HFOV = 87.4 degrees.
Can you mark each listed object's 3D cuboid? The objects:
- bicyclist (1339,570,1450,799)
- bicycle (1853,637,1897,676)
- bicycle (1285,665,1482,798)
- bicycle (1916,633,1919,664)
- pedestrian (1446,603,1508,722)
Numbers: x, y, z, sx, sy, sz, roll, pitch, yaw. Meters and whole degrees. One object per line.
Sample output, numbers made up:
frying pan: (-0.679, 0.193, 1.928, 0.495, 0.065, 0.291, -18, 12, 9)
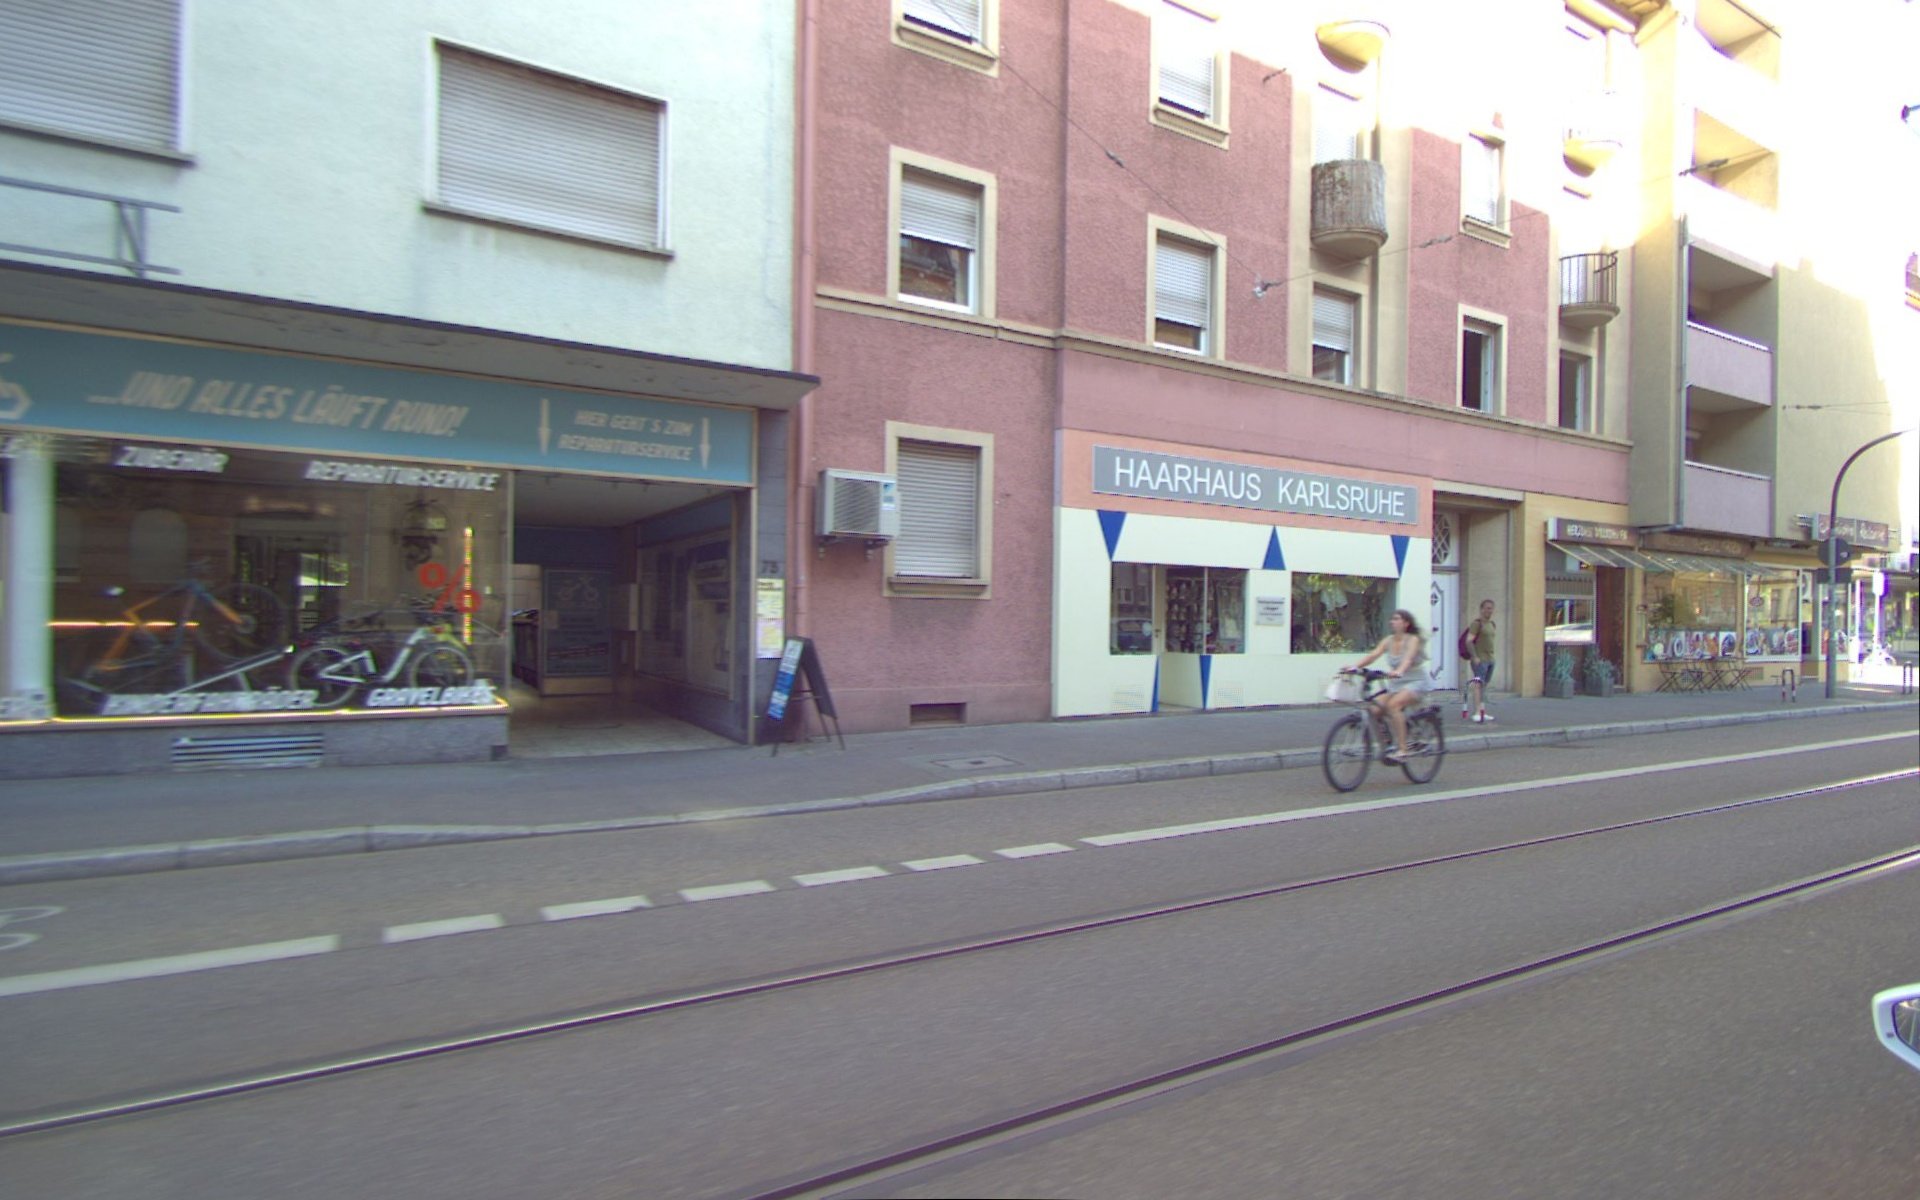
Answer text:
bicyclist: (4.055, 0.758, 9.390, 0.725, 2.040, 0.609, 1, 0, -30)
bicycle: (30.589, 1.869, 33.584, 2.413, 1.124, 0.676, -1, 1, -38)
bicycle: (3.967, 1.171, 9.362, 2.020, 1.110, 0.599, 2, -3, -31)
bicycle: (34.786, 1.758, 36.122, 0.398, 1.124, 1.830, 0, -1, 38)
pedestrian: (7.651, 0.904, 14.872, 0.609, 1.708, 0.560, 1, 0, -32)
